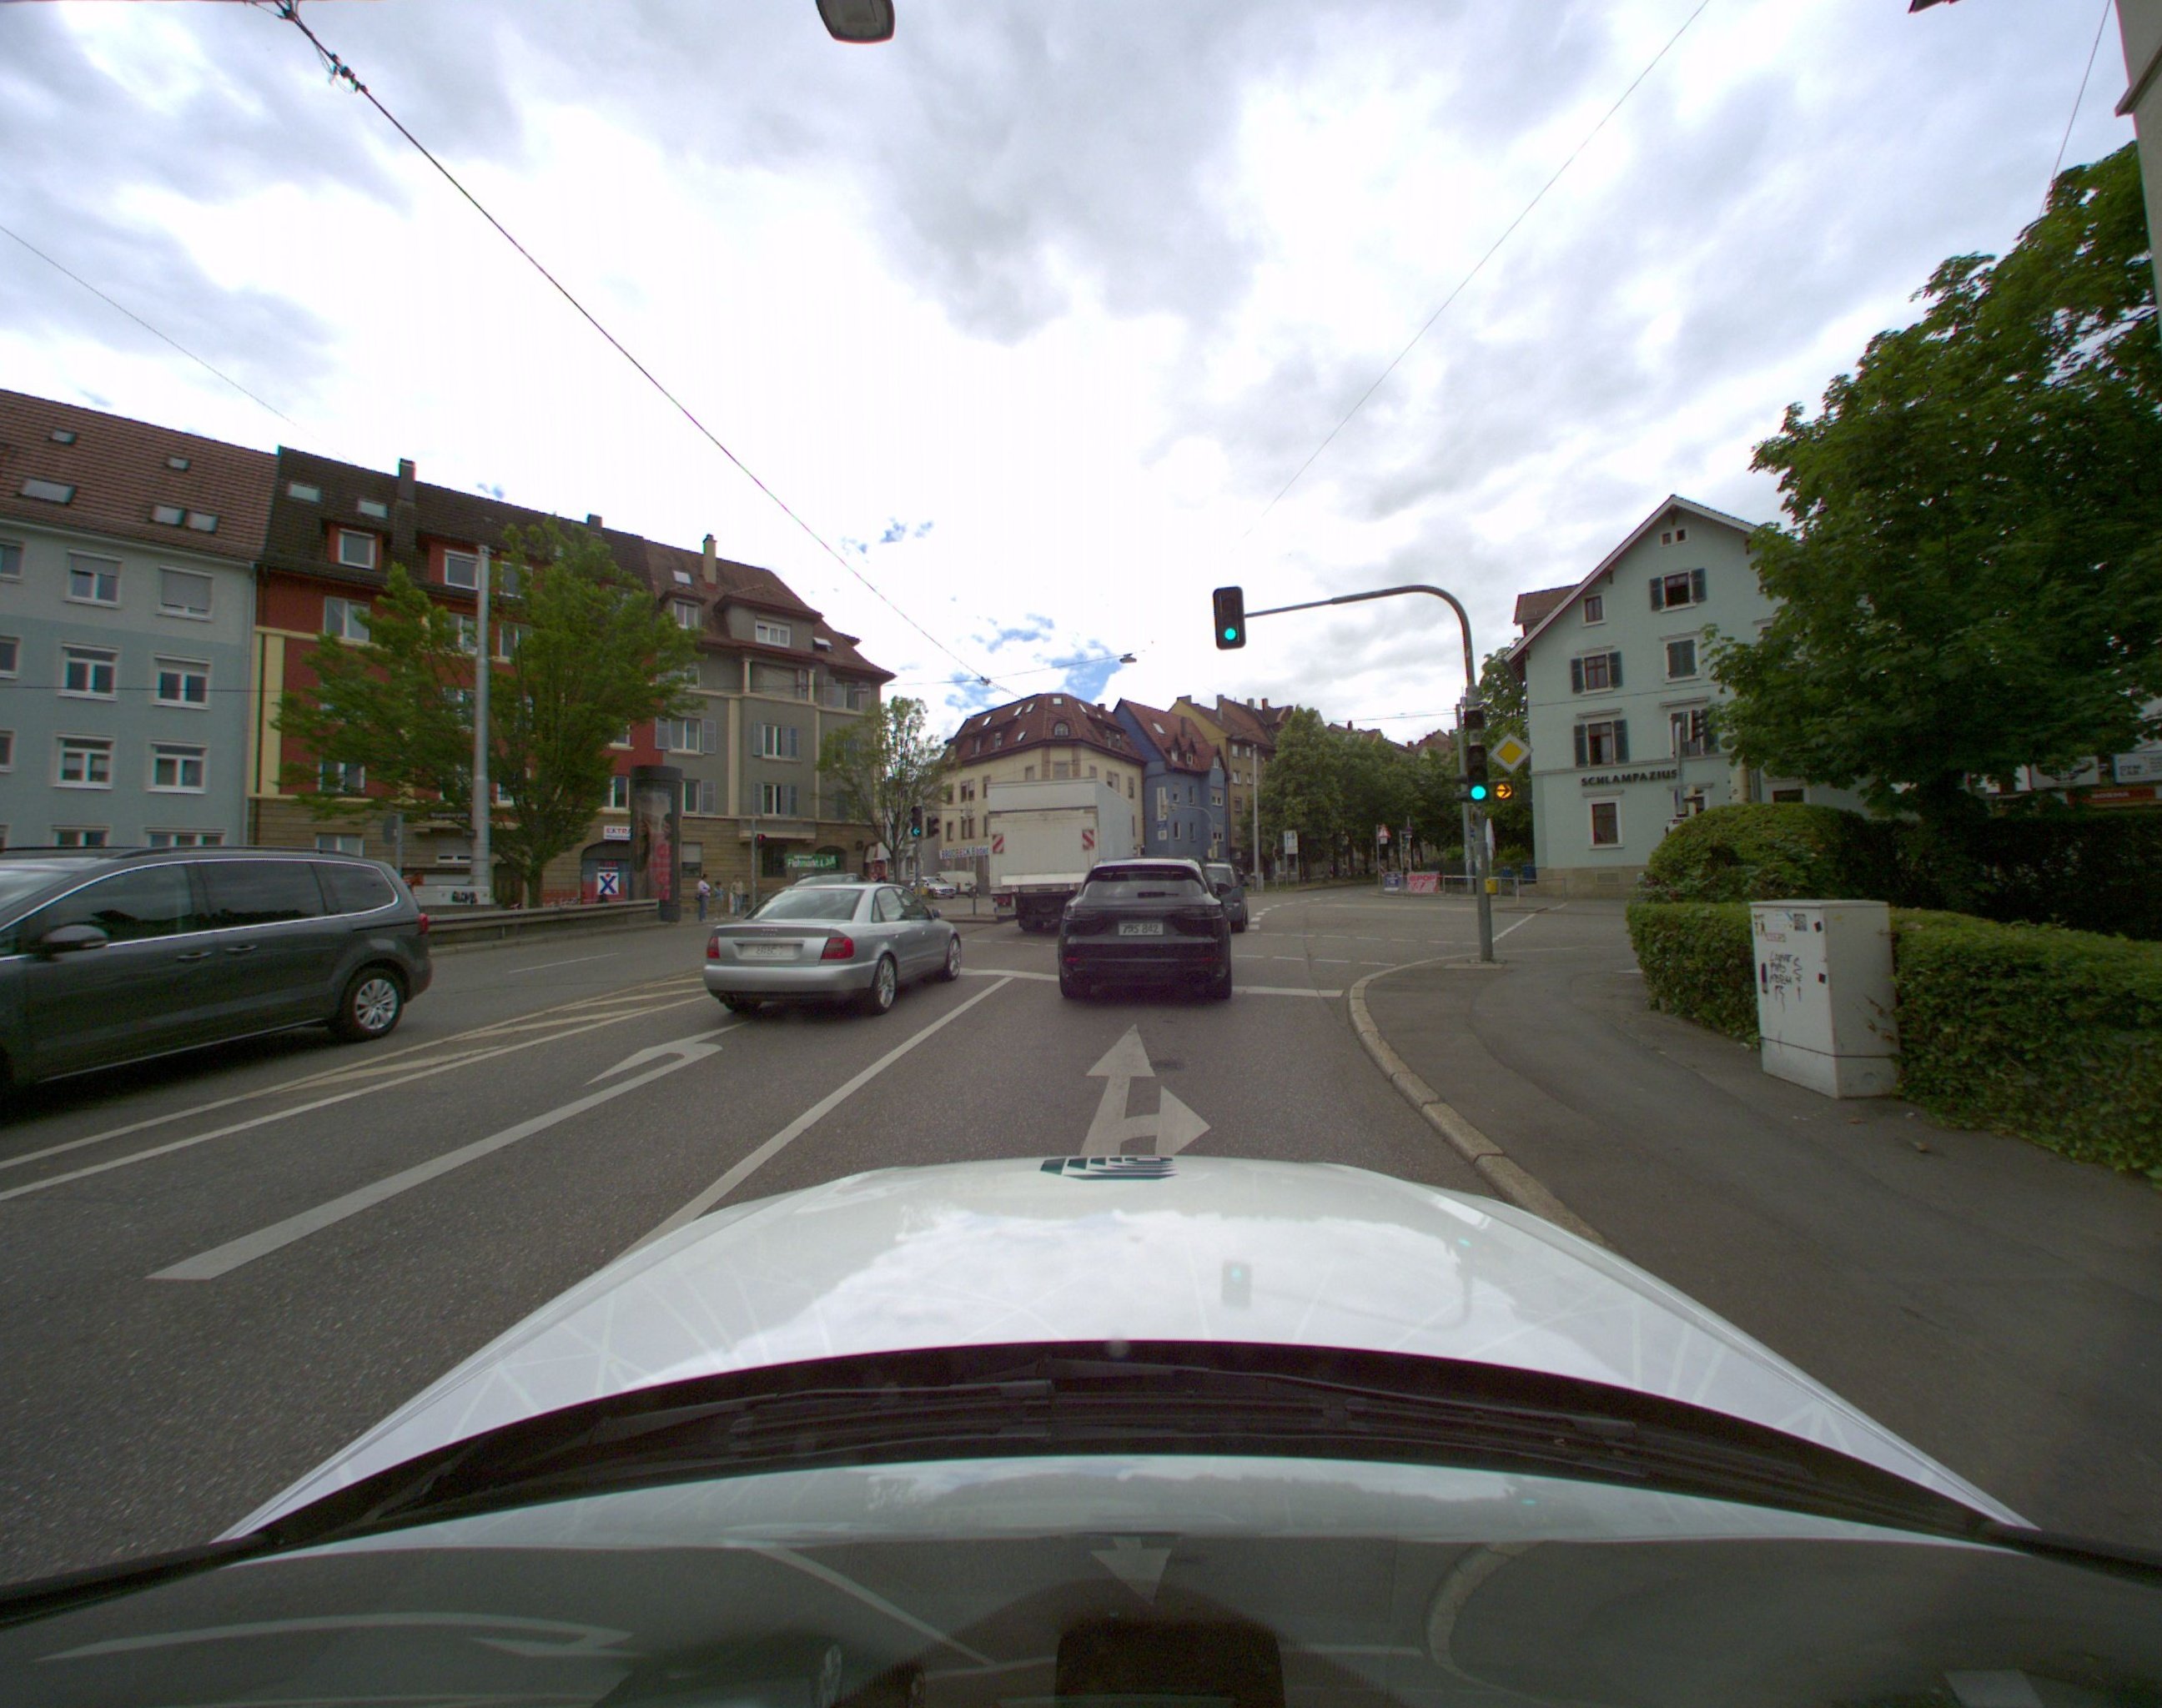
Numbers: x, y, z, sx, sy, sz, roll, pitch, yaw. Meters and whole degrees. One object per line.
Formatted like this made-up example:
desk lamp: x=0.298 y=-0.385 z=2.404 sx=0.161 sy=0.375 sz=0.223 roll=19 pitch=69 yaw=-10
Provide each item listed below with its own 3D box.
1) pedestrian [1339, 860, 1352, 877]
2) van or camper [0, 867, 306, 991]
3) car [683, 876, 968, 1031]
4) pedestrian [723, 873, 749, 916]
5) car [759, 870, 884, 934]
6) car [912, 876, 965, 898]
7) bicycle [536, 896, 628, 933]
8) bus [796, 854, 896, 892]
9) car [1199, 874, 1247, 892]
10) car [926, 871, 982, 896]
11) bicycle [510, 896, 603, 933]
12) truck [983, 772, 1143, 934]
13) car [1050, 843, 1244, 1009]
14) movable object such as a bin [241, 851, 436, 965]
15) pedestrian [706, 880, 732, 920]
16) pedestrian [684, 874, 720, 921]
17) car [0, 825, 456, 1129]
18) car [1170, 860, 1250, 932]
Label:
pedestrian: x=30.984 y=1.717 z=95.297 sx=1.180 sy=2.014 sz=0.995 roll=-2 pitch=-2 yaw=38
van or camper: x=-20.763 y=1.496 z=17.223 sx=6.033 sy=2.339 sz=2.658 roll=0 pitch=-2 yaw=-37
car: x=-2.686 y=0.974 z=9.662 sx=1.620 sy=1.365 sz=4.136 roll=0 pitch=-1 yaw=7
pedestrian: x=-12.129 y=1.420 z=28.599 sx=0.518 sy=1.487 sz=0.657 roll=-1 pitch=-1 yaw=20
car: x=-6.880 y=1.222 z=22.073 sx=1.779 sy=1.531 sz=4.041 roll=-1 pitch=-1 yaw=5
car: x=-9.960 y=2.343 z=56.795 sx=1.890 sy=1.470 sz=3.928 roll=1 pitch=-3 yaw=-40
bicycle: x=-18.692 y=2.257 z=30.674 sx=0.811 sy=1.202 sz=3.370 roll=-1 pitch=-1 yaw=13
bus: x=-21.221 y=1.746 z=72.832 sx=3.186 sy=3.096 sz=12.000 roll=1 pitch=-2 yaw=-45
car: x=11.931 y=2.421 z=68.270 sx=1.852 sy=1.416 sz=4.727 roll=-3 pitch=-4 yaw=40
car: x=-9.592 y=2.205 z=61.474 sx=2.077 sy=1.799 sz=4.282 roll=0 pitch=-2 yaw=-44
bicycle: x=-19.846 y=2.261 z=30.956 sx=0.811 sy=1.202 sz=3.370 roll=-1 pitch=-1 yaw=13
truck: x=-0.114 y=0.065 z=22.183 sx=2.708 sy=3.544 sz=8.444 roll=-1 pitch=-1 yaw=10
car: x=0.944 y=0.756 z=10.824 sx=2.021 sy=1.723 sz=4.508 roll=0 pitch=0 yaw=6
movable object such as a bin: x=-14.847 y=1.005 z=16.526 sx=1.377 sy=2.014 sz=3.519 roll=-1 pitch=-1 yaw=-14
pedestrian: x=-12.440 y=1.582 z=27.984 sx=0.569 sy=1.338 sz=0.587 roll=-2 pitch=-1 yaw=20
pedestrian: x=-12.620 y=1.443 z=27.153 sx=0.785 sy=1.546 sz=0.742 roll=-2 pitch=-1 yaw=20
car: x=-7.118 y=0.744 z=5.737 sx=1.899 sy=1.714 sz=4.714 roll=-1 pitch=-1 yaw=-2
car: x=3.178 y=0.969 z=19.533 sx=1.637 sy=1.556 sz=3.595 roll=0 pitch=-2 yaw=13
